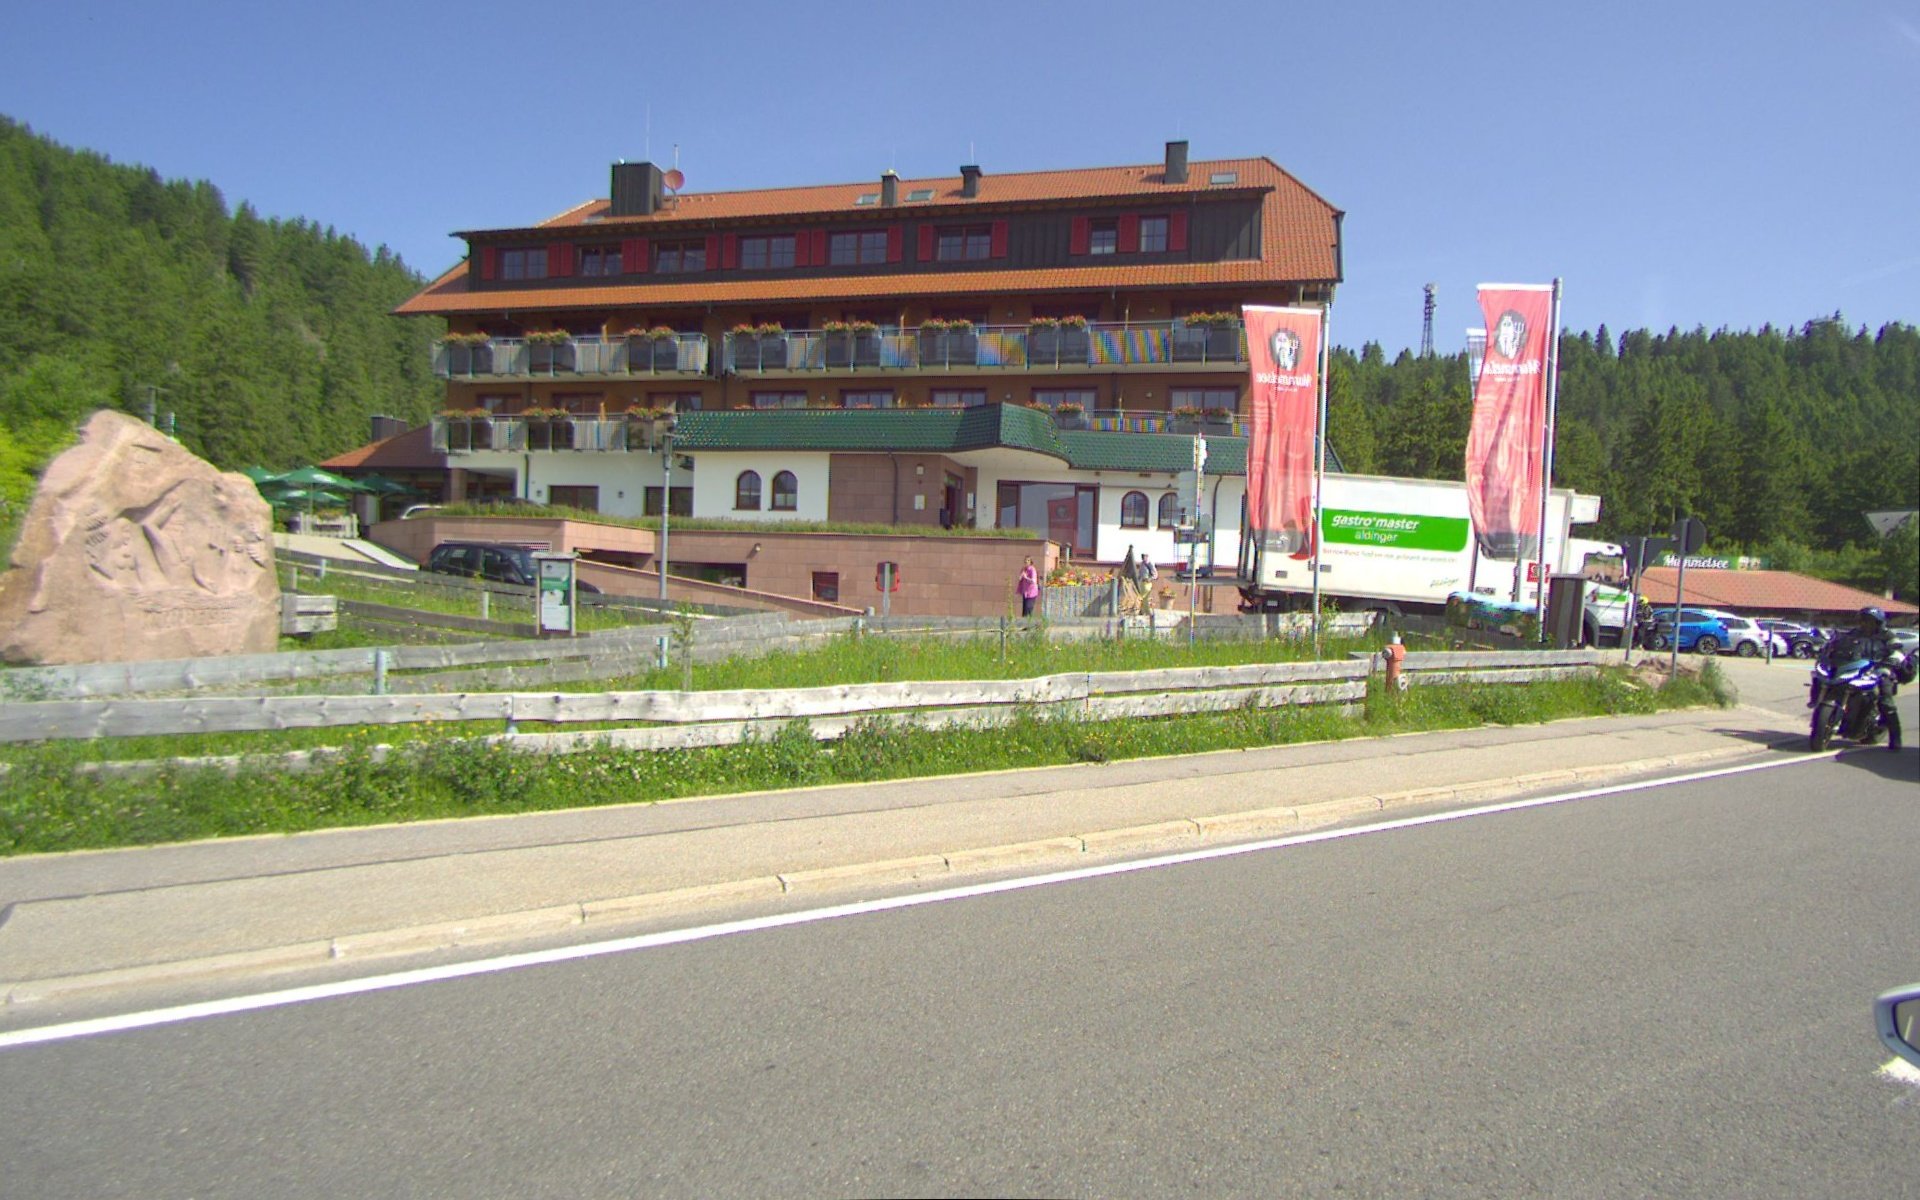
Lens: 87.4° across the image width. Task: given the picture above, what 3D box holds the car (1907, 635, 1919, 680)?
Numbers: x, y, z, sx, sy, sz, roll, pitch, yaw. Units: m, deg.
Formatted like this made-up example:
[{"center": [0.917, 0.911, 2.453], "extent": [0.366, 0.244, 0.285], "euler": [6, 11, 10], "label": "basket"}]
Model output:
[{"center": [34.396, 2.049, 33.894], "extent": [1.771, 1.561, 4.194], "euler": [2, 0, 16], "label": "car"}]

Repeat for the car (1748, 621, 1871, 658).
[{"center": [39.417, 1.834, 46.687], "extent": [3.997, 1.506, 1.717], "euler": [2, 0, 13], "label": "car"}]

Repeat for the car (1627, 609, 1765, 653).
[{"center": [29.099, 1.187, 39.848], "extent": [3.919, 1.566, 2.001], "euler": [2, 0, 14], "label": "car"}]

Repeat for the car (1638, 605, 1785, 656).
[{"center": [30.884, 1.232, 41.439], "extent": [4.439, 1.888, 1.836], "euler": [2, 0, 15], "label": "car"}]

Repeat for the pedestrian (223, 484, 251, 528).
[{"center": [-26.852, -3.504, 37.303], "extent": [0.619, 1.563, 0.574], "euler": [7, 8, 16], "label": "pedestrian"}]

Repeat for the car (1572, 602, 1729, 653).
[{"center": [26.209, 1.010, 38.297], "extent": [4.453, 1.686, 1.941], "euler": [3, 1, 12], "label": "car"}]

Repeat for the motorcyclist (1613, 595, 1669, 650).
[{"center": [23.065, 0.762, 34.045], "extent": [1.224, 1.742, 1.064], "euler": [6, 1, 23], "label": "motorcyclist"}]

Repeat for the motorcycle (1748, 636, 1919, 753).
[{"center": [10.659, 1.101, 12.003], "extent": [2.291, 1.282, 0.810], "euler": [1, 0, -19], "label": "motorcycle"}]

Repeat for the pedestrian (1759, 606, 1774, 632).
[{"center": [60.320, 1.422, 75.125], "extent": [0.517, 1.898, 0.547], "euler": [4, 1, 11], "label": "pedestrian"}]

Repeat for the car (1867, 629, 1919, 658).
[{"center": [52.613, 2.418, 55.006], "extent": [3.919, 1.439, 1.909], "euler": [2, 0, 13], "label": "car"}]

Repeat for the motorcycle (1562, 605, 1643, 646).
[{"center": [23.465, 0.923, 36.716], "extent": [2.231, 1.273, 0.879], "euler": [5, 3, 14], "label": "motorcycle"}]

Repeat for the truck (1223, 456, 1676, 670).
[{"center": [10.863, -0.903, 23.228], "extent": [8.595, 4.026, 3.071], "euler": [4, 3, 6], "label": "truck"}]

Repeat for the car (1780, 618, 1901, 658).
[{"center": [42.084, 1.789, 48.113], "extent": [3.920, 1.726, 1.826], "euler": [2, 0, 18], "label": "car"}]

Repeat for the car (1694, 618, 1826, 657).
[{"center": [34.183, 1.584, 43.022], "extent": [3.919, 1.449, 1.915], "euler": [2, 0, 12], "label": "car"}]

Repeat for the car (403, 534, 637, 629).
[{"center": [-8.755, -0.367, 20.051], "extent": [3.922, 1.371, 1.880], "euler": [7, 2, 18], "label": "car"}]

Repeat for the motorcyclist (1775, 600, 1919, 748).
[{"center": [10.676, 0.854, 12.012], "extent": [1.279, 1.663, 0.878], "euler": [1, 0, -18], "label": "motorcyclist"}]

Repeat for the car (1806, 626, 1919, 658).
[{"center": [44.962, 2.076, 50.031], "extent": [3.921, 1.389, 1.812], "euler": [2, 0, 20], "label": "car"}]

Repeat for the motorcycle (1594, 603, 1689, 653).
[{"center": [23.056, 0.928, 34.035], "extent": [2.398, 1.425, 1.006], "euler": [6, 1, 23], "label": "motorcycle"}]

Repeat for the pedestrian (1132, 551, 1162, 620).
[{"center": [4.744, -0.360, 25.510], "extent": [0.640, 1.712, 0.575], "euler": [2, 1, 4], "label": "pedestrian"}]

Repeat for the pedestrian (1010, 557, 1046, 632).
[{"center": [1.613, -0.130, 23.875], "extent": [0.782, 1.739, 0.699], "euler": [2, 1, 4], "label": "pedestrian"}]

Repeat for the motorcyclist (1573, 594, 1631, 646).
[{"center": [23.441, 0.710, 36.692], "extent": [1.423, 1.741, 0.926], "euler": [4, 3, 14], "label": "motorcyclist"}]
